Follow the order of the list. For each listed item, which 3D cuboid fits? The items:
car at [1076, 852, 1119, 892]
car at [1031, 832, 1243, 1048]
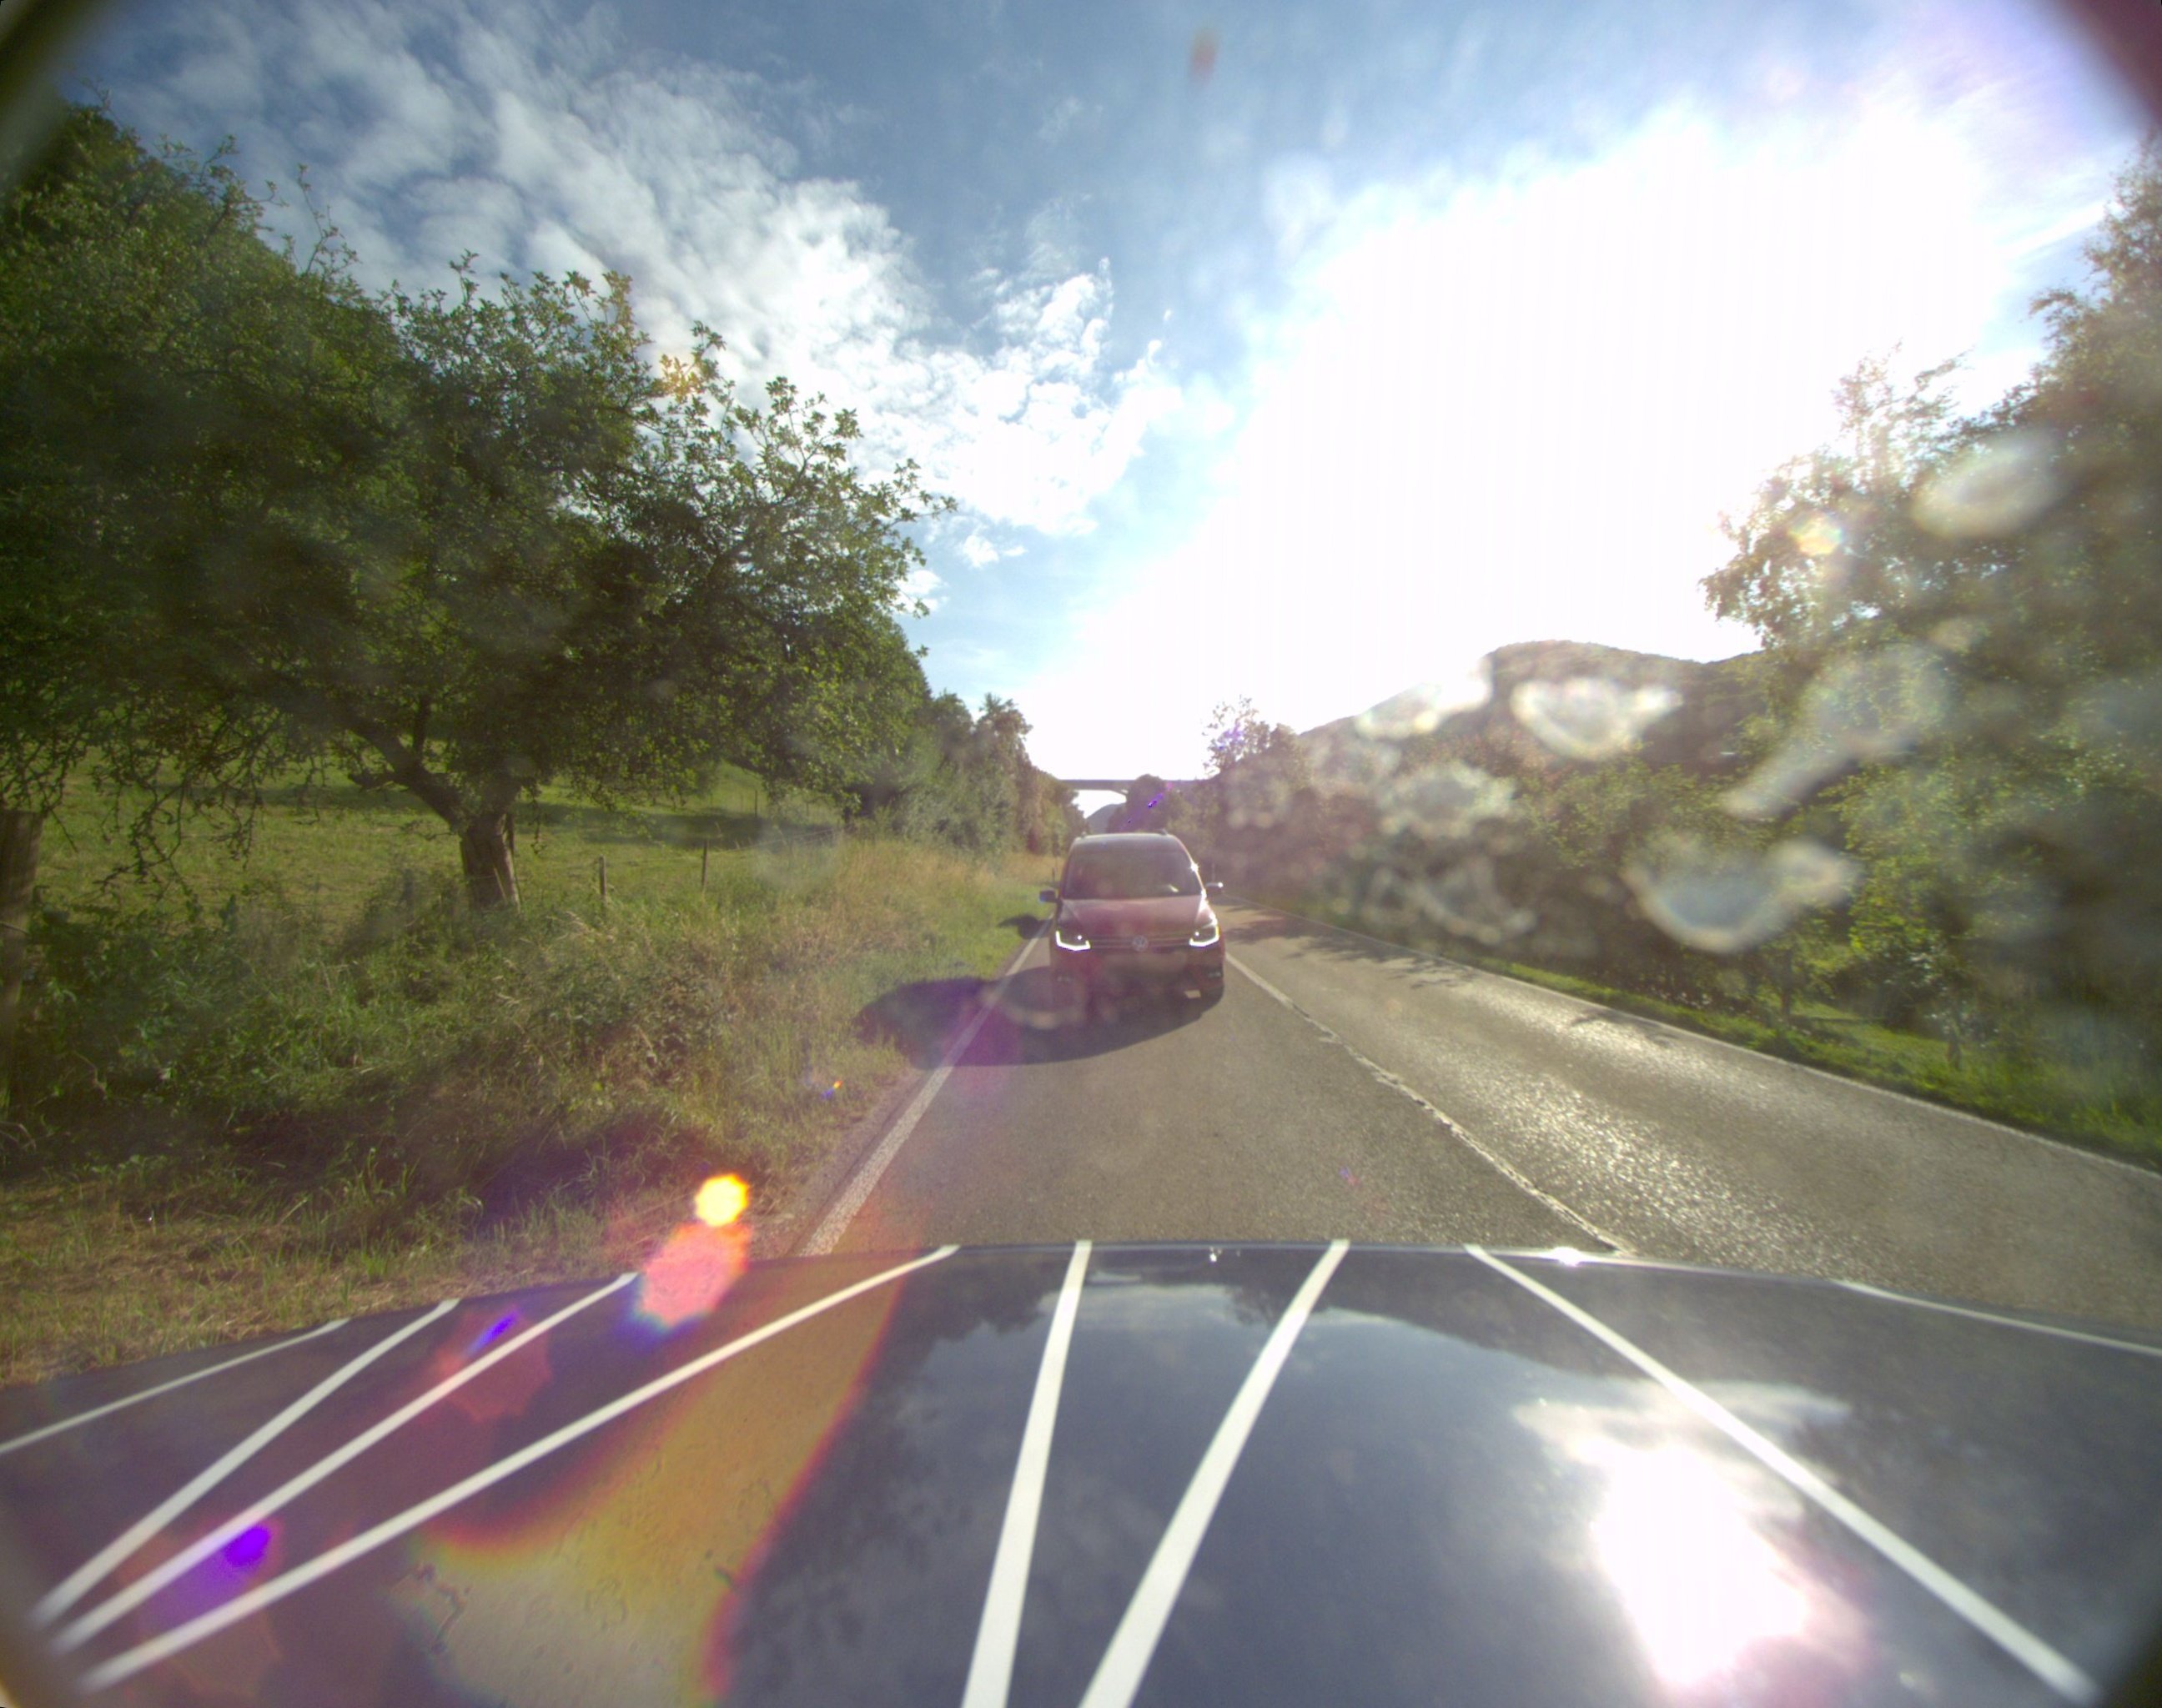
[{"bbox_3d":[0.757,0.780,34.655,1.753,1.608,4.288,-3,1,1],"label":"car"},{"bbox_3d":[0.543,0.730,8.736,1.753,1.799,4.288,-3,1,1],"label":"car"}]
